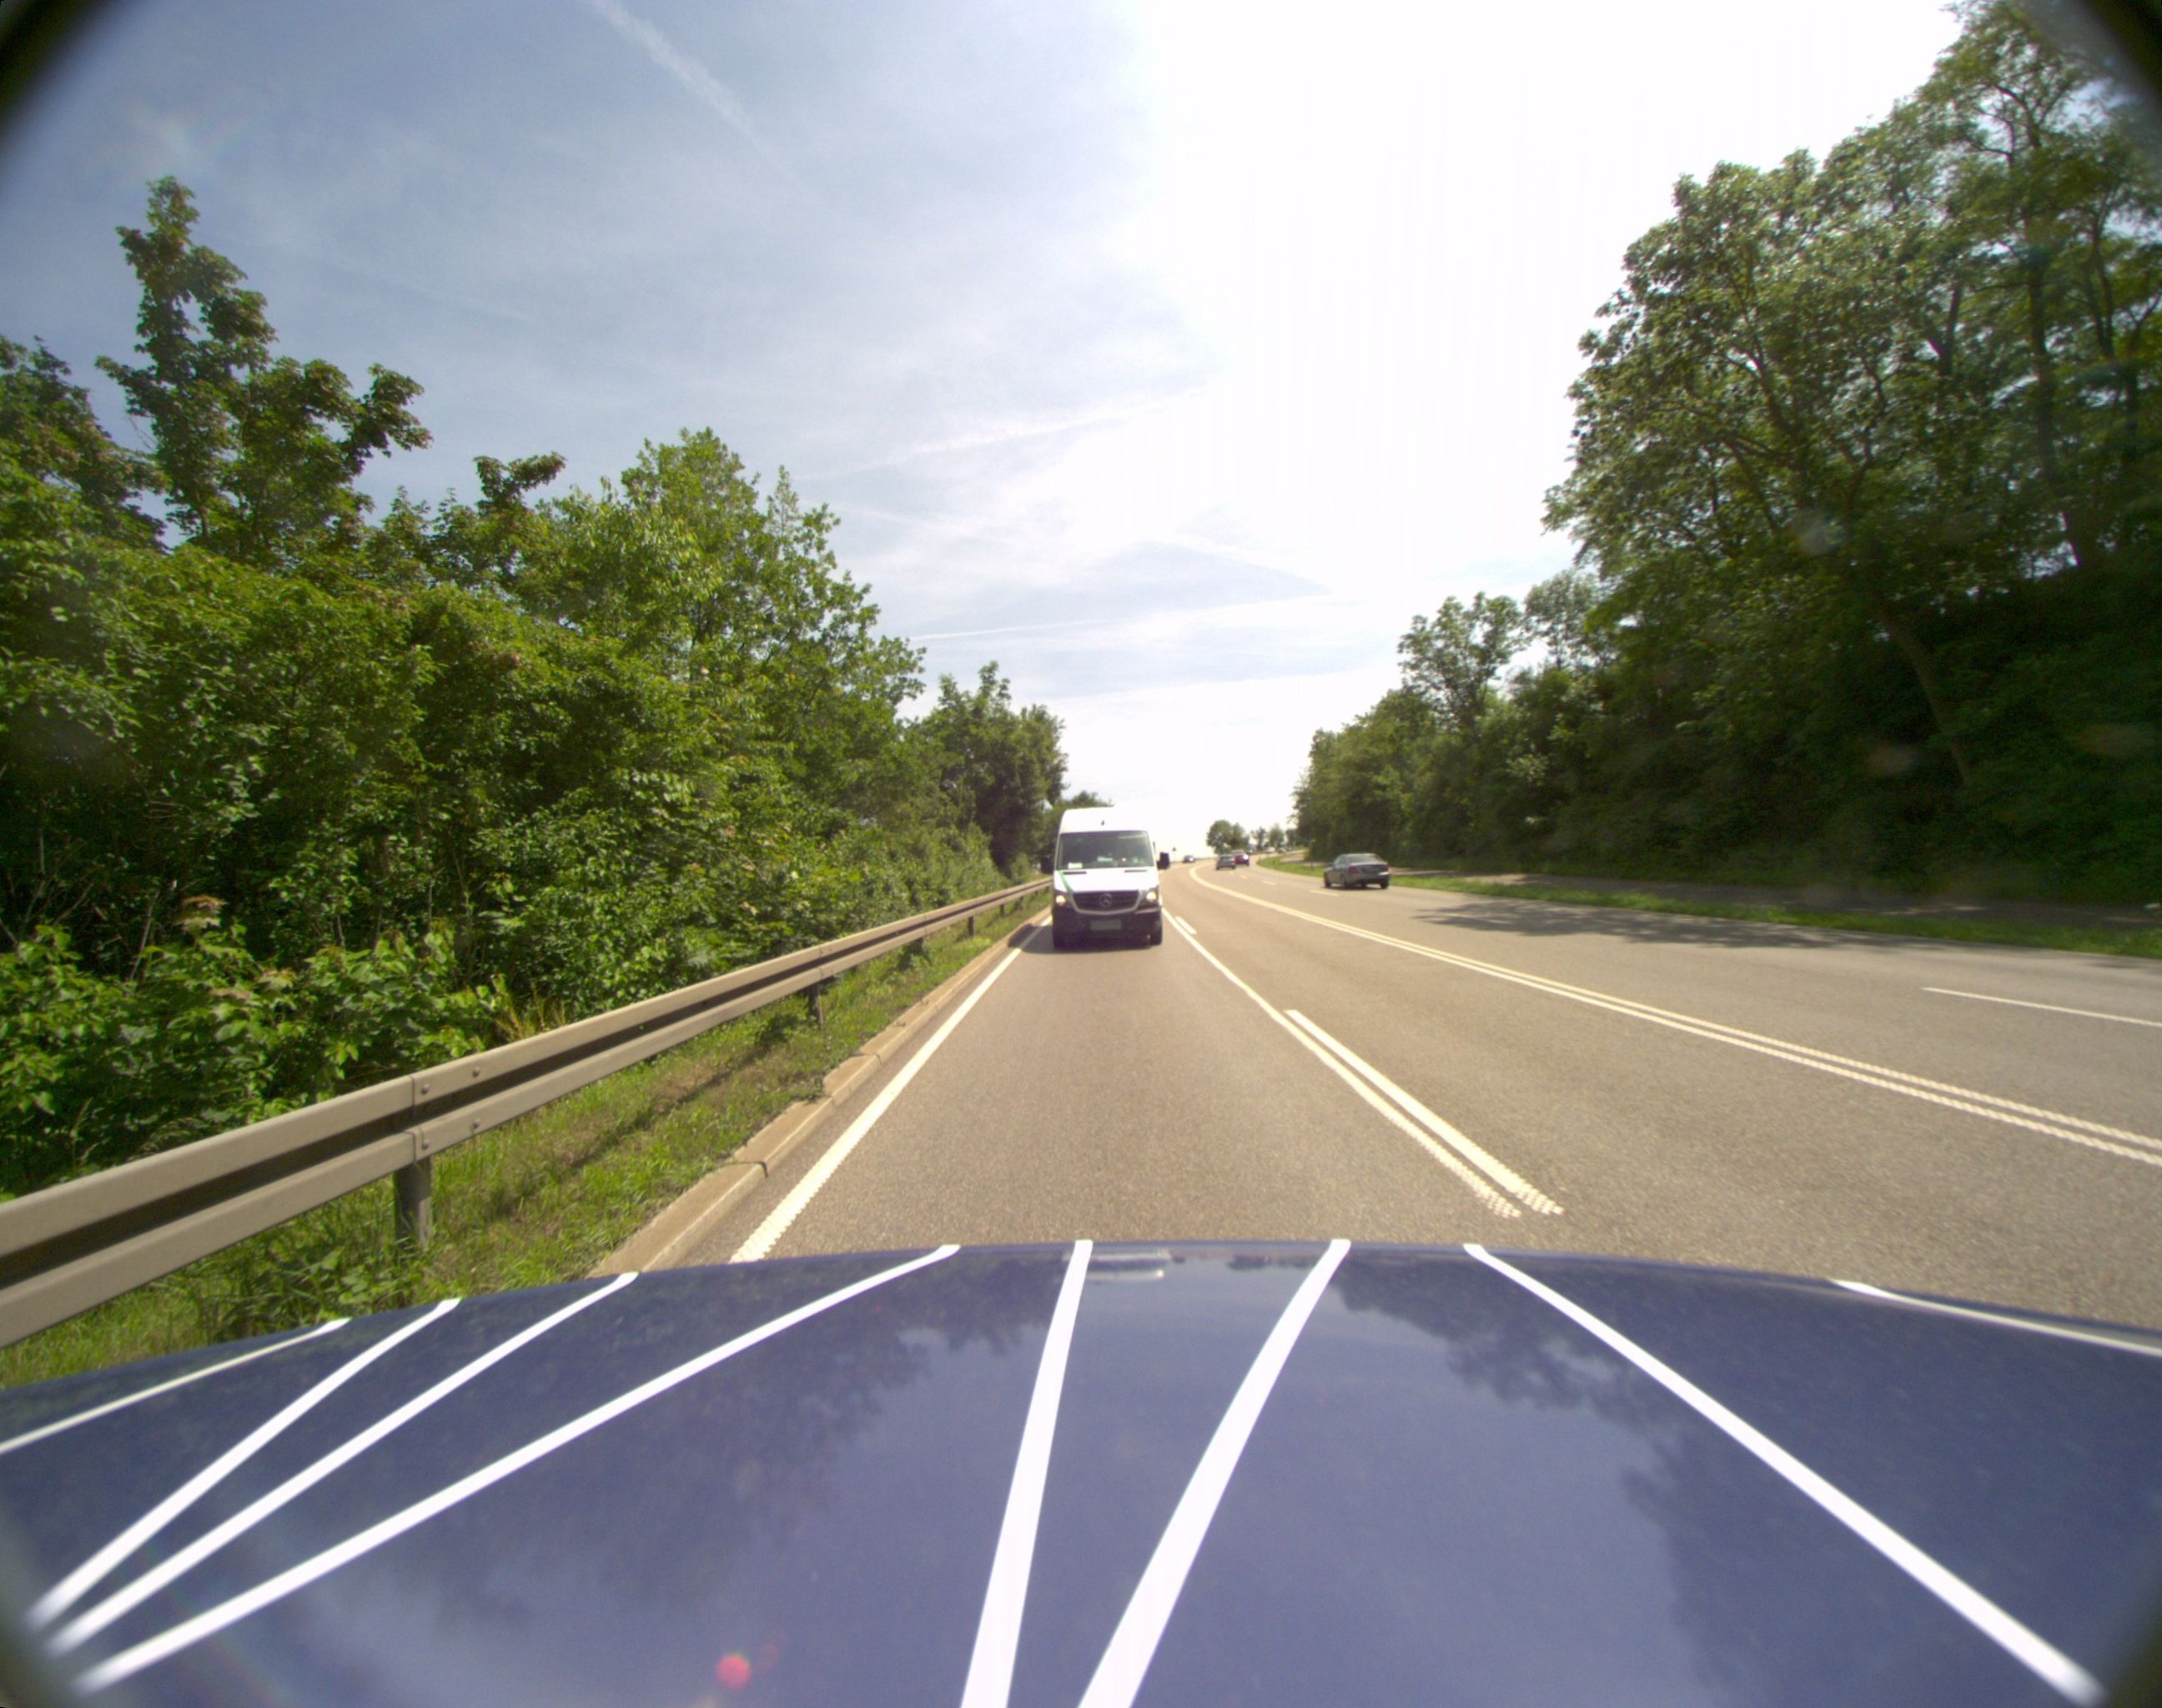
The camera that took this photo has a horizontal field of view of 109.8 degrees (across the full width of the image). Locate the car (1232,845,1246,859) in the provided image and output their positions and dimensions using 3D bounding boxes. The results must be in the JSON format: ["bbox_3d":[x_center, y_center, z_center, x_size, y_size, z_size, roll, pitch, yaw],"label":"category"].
[{"bbox_3d":[23.336,-0.330,112.130,1.815,2.002,3.873,-2,1,12],"label":"car"}]

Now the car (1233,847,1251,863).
[{"bbox_3d":[18.372,0.137,86.714,1.997,1.665,4.003,-2,1,12],"label":"car"}]

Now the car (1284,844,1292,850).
[{"bbox_3d":[66.246,-2.159,242.815,1.763,1.849,3.815,-2,1,26],"label":"car"}]

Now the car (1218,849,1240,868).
[{"bbox_3d":[14.725,0.416,75.566,1.958,1.718,3.914,-2,0,12],"label":"car"}]

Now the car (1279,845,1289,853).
[{"bbox_3d":[55.364,-1.326,207.536,1.995,2.002,4.006,-2,1,23],"label":"car"}]

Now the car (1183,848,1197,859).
[{"bbox_3d":[18.592,-0.042,129.482,1.997,1.718,4.003,-2,1,12],"label":"car"}]

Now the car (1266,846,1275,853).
[{"bbox_3d":[55.727,-1.412,223.447,1.848,2.002,3.878,-2,1,27],"label":"car"}]

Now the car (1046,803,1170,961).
[{"bbox_3d":[0.441,0.453,14.765,1.958,2.502,5.266,-1,0,0],"label":"car"}]

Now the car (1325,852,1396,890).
[{"bbox_3d":[11.388,0.658,31.200,1.806,1.379,3.872,-2,0,6],"label":"car"}]
